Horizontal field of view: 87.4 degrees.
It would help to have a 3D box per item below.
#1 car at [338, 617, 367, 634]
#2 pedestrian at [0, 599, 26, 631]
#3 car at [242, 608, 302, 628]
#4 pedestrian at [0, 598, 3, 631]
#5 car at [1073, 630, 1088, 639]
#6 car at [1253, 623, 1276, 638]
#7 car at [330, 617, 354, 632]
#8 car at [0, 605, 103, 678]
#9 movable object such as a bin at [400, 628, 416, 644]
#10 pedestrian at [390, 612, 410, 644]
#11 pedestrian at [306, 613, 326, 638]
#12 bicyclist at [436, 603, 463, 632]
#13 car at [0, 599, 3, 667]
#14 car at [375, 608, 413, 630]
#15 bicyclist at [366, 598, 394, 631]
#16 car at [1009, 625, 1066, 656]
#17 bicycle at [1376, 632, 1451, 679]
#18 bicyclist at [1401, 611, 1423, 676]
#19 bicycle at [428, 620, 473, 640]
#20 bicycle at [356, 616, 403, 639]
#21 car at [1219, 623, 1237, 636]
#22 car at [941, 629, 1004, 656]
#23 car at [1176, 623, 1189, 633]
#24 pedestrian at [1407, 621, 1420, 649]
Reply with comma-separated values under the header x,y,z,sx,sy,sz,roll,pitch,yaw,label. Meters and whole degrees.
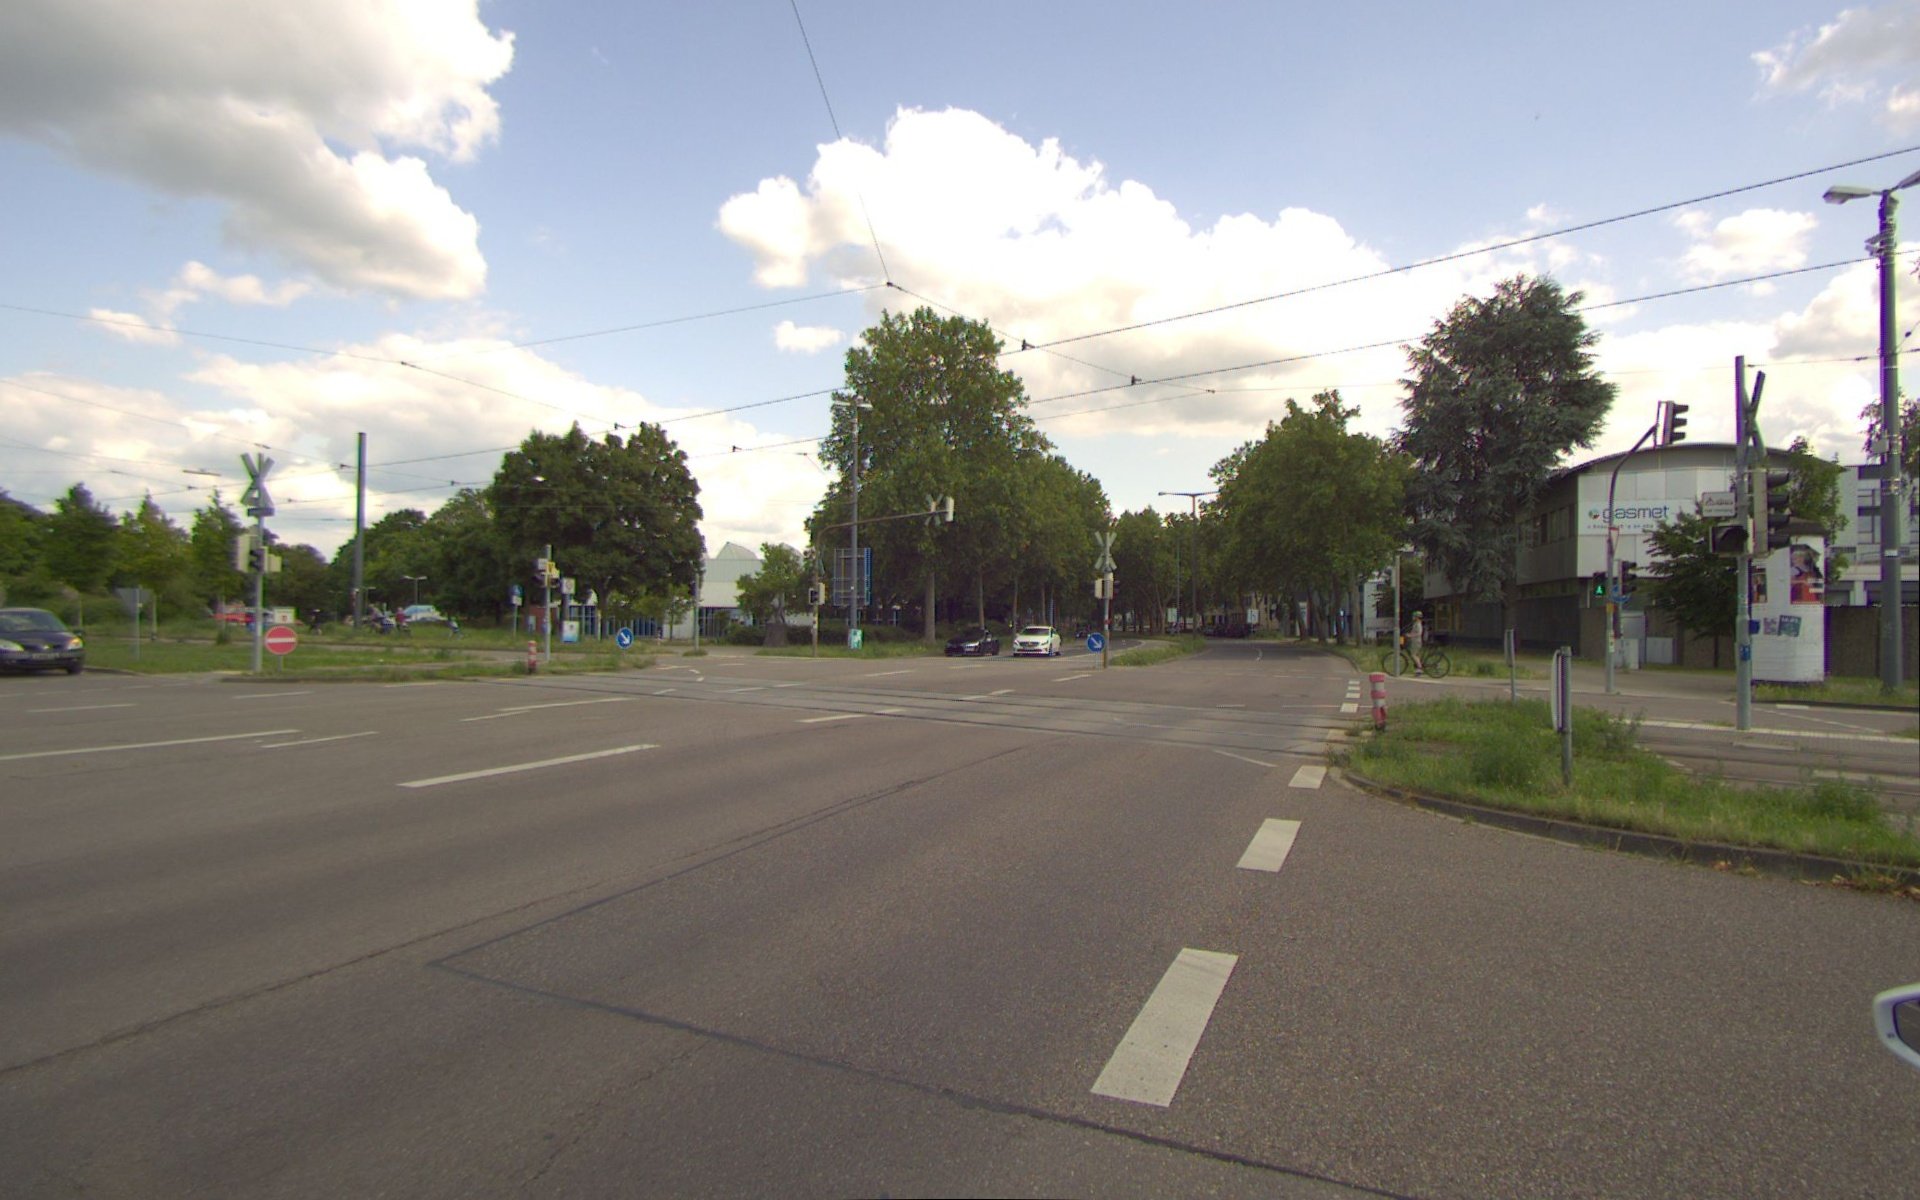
x,y,z,sx,sy,sz,roll,pitch,yaw,label
-62.649,2.634,103.577,1.983,1.661,4.342,2,-1,-38,car
-60.352,0.944,63.731,1.154,2.040,1.107,0,-1,19,pedestrian
-56.497,1.474,82.502,3.965,1.550,1.978,2,-1,-39,car
-60.749,0.898,62.632,1.154,2.040,1.106,0,-1,21,pedestrian
16.832,4.869,140.374,1.608,1.207,3.708,1,-1,0,car
35.213,3.495,116.229,1.959,1.595,4.002,0,1,8,car
-74.241,2.928,120.610,1.983,1.661,4.342,2,-1,-38,car
-22.857,0.954,24.386,3.978,1.652,1.733,0,-1,28,car
-28.344,1.845,51.615,0.450,0.822,0.579,0,1,12,movable object such as a bin
-28.849,1.433,51.721,0.625,1.666,0.613,0,1,12,pedestrian
-35.844,1.421,55.939,0.738,1.372,0.650,0,1,26,pedestrian
-26.859,0.917,52.845,0.819,1.509,0.964,1,-1,12,bicyclist
-28.138,0.861,27.228,4.290,1.824,1.882,0,-1,28,car
-44.088,1.458,78.197,1.983,1.661,4.342,2,-1,-38,car
-30.963,0.787,53.624,0.819,1.745,0.964,1,-1,6,bicyclist
3.756,1.916,48.137,1.795,1.382,4.139,0,-1,18,car
12.980,1.580,28.738,1.917,1.252,0.540,0,1,29,bicycle
12.931,1.226,28.755,0.535,1.834,0.540,0,1,29,bicyclist
-26.779,1.569,52.821,1.944,1.054,0.952,1,-1,11,bicycle
-30.966,1.463,53.612,1.944,1.169,0.952,1,-1,5,bicycle
36.445,4.044,136.521,1.959,1.595,4.002,0,1,8,car
0.647,2.038,48.513,1.609,1.207,3.704,0,-1,27,car
39.136,4.893,176.582,1.959,1.595,4.002,0,1,8,car
26.606,2.049,58.923,0.610,1.590,0.559,0,1,19,pedestrian
